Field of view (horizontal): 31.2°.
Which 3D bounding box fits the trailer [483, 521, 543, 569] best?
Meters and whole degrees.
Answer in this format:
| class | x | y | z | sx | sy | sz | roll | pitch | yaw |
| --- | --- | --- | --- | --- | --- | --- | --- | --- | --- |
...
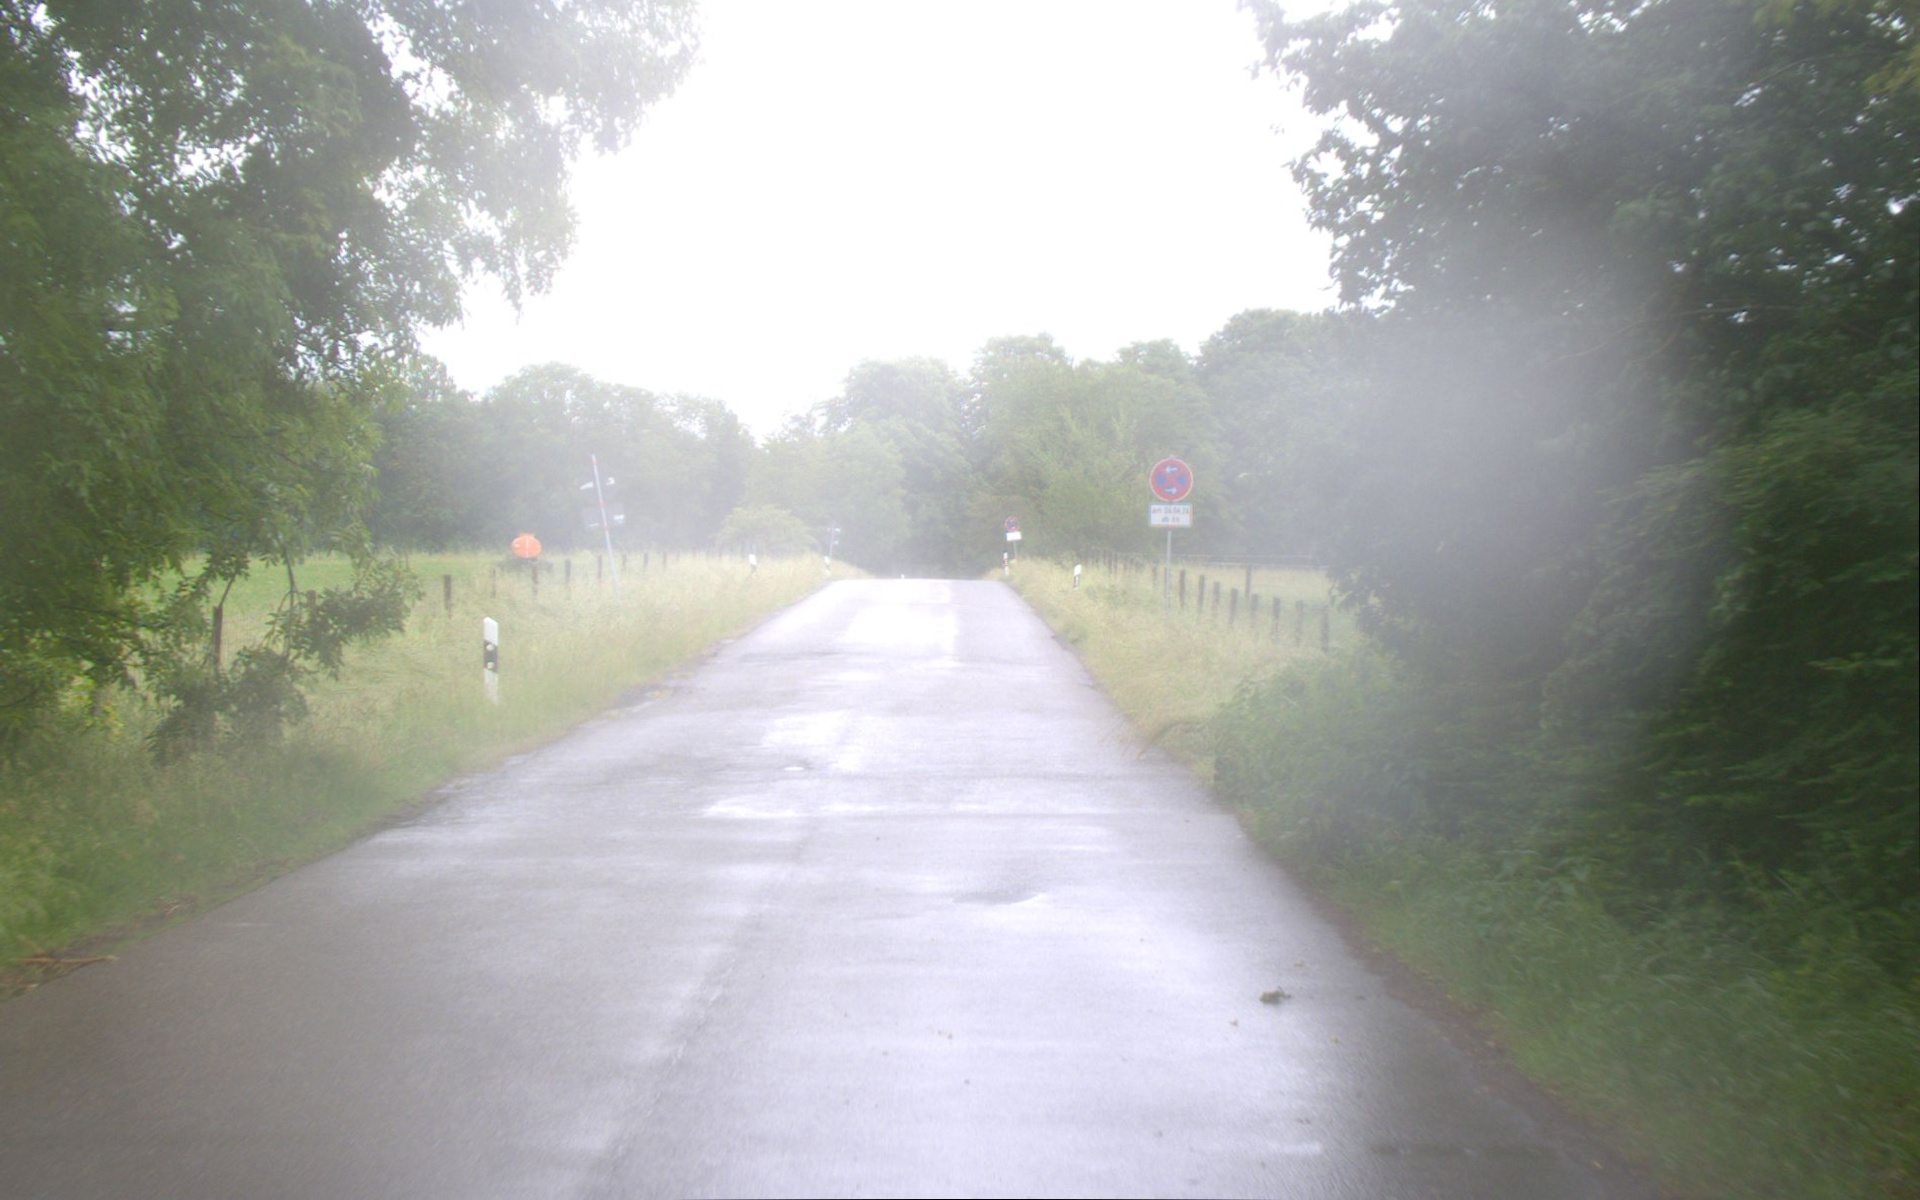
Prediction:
| class | x | y | z | sx | sy | sz | roll | pitch | yaw |
| --- | --- | --- | --- | --- | --- | --- | --- | --- | --- |
| trailer | -14.374 | -1.766 | 110.458 | 1.751 | 1.499 | 3.091 | 0 | 1 | -10 |
